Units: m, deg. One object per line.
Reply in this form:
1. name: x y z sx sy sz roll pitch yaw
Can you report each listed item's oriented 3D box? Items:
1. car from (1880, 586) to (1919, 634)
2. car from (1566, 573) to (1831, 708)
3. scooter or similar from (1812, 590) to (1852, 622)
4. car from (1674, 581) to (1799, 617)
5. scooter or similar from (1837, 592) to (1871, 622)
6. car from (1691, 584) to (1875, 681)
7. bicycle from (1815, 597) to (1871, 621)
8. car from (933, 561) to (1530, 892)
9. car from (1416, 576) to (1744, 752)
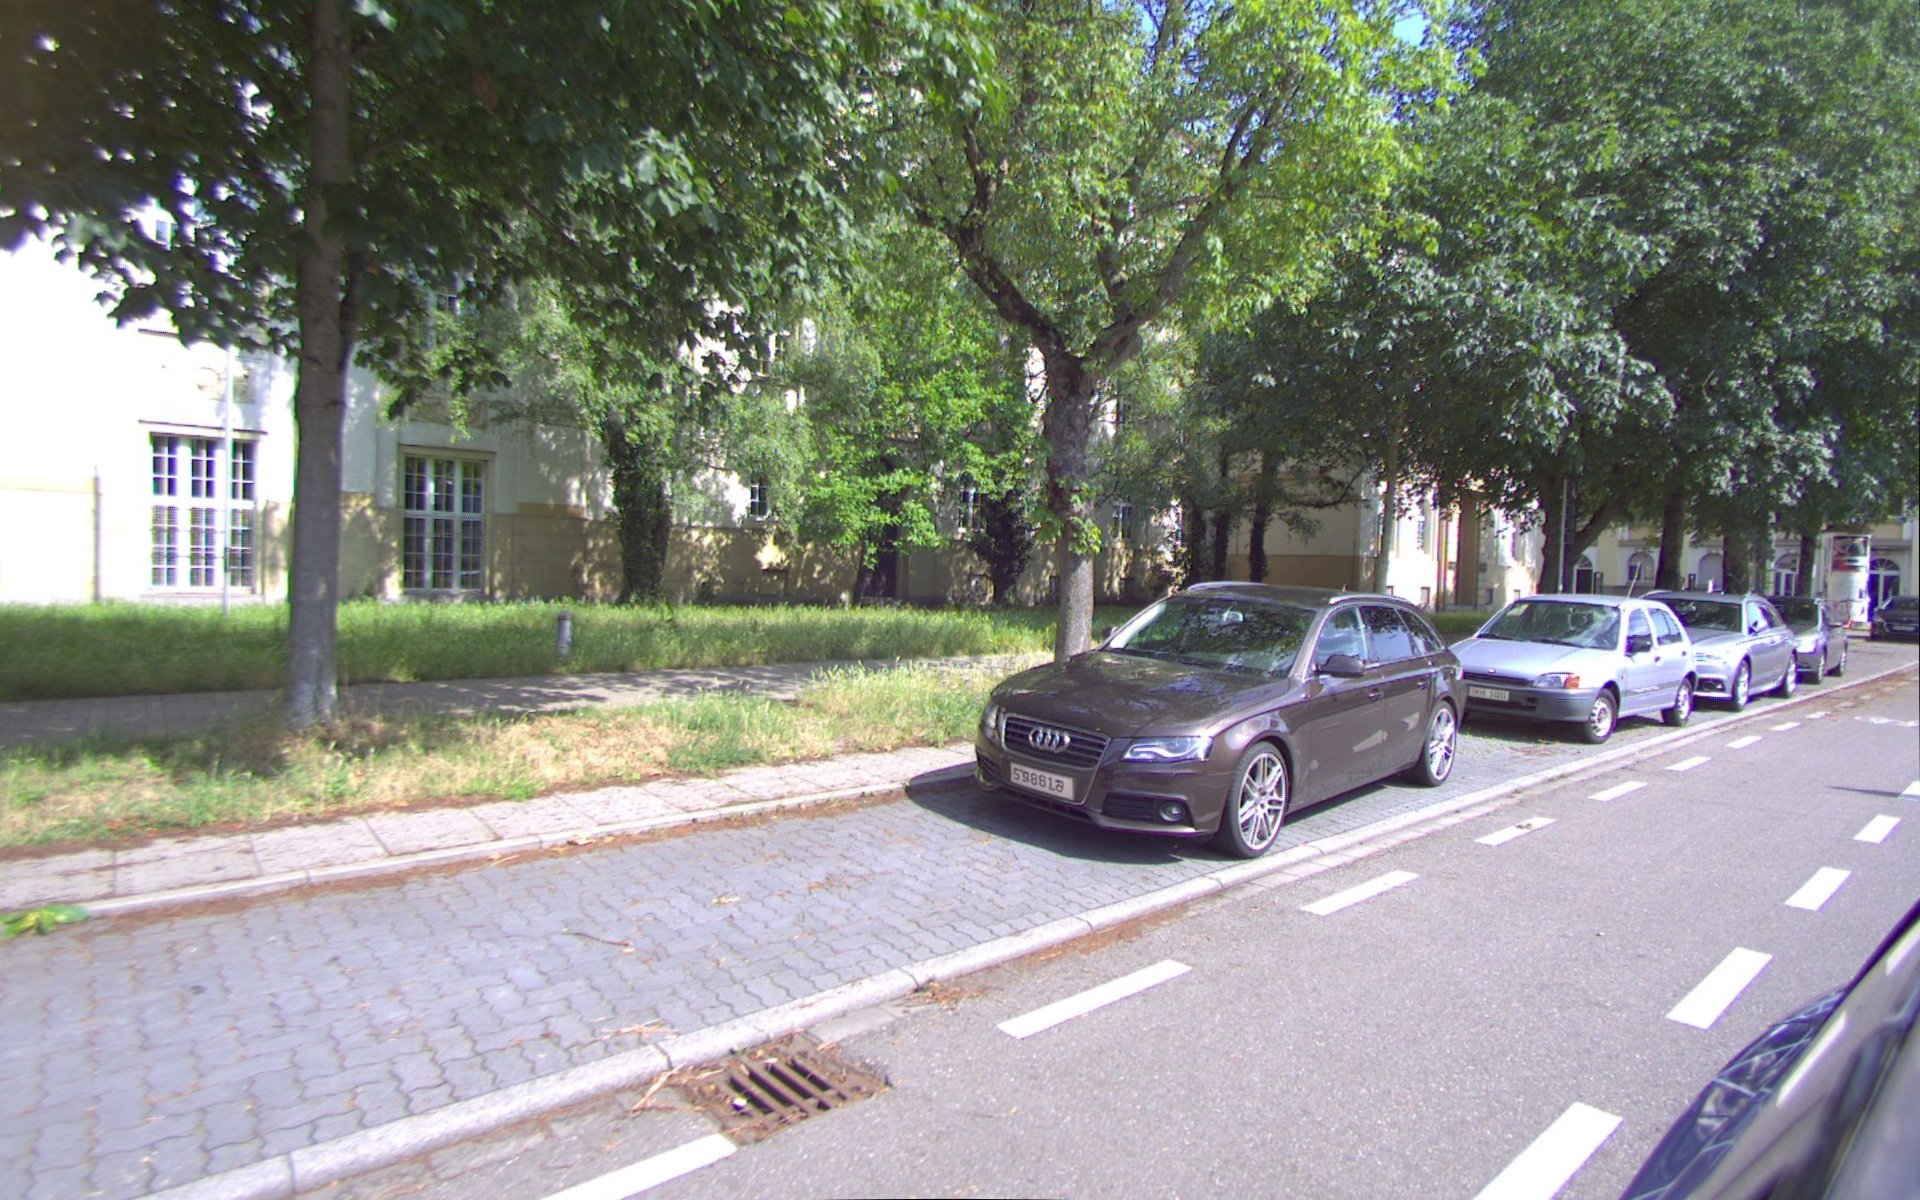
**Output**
1. car: 30.570 0.311 31.977 3.855 1.404 1.689 -1 4 -41
2. car: 10.511 0.468 14.241 4.961 1.458 1.834 0 5 -41
3. scooter or similar: 35.373 0.232 41.069 0.437 1.257 1.111 1 2 -18
4. car: 40.688 -0.091 53.158 1.820 1.675 4.842 -1 3 -30
5. scooter or similar: 35.572 0.282 40.275 1.103 1.193 0.415 1 -1 -12
6. car: 15.149 0.512 18.540 4.577 1.416 1.833 0 5 -42
7. bicycle: 43.008 0.427 49.323 0.603 1.058 1.951 0 3 -19
8. car: 2.189 0.522 7.113 4.752 1.484 1.834 -2 6 -44
9. car: 6.712 0.562 10.805 3.941 1.448 1.641 1 5 -38
